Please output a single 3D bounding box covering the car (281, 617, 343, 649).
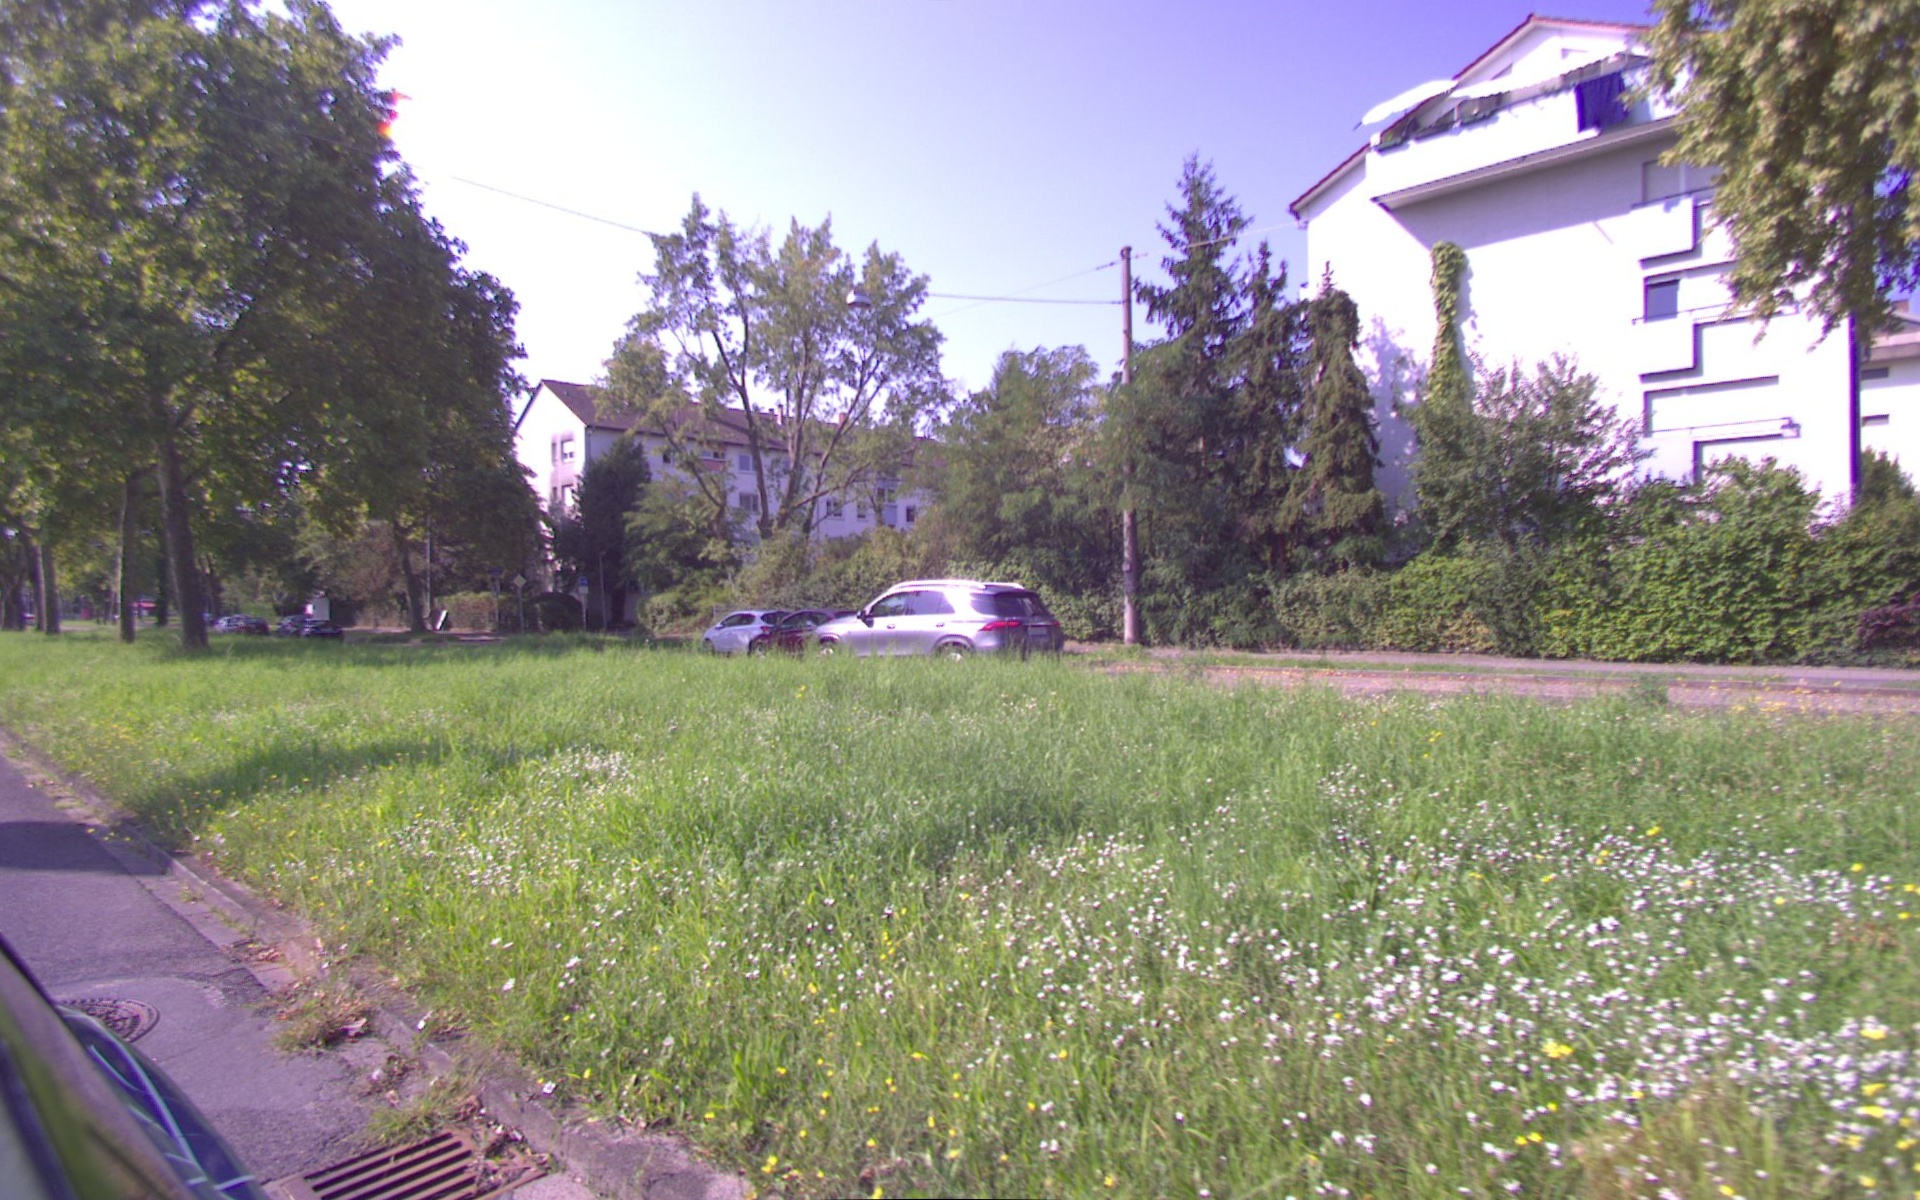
[{"bbox_3d":[-32.510,1.649,50.743,3.897,1.490,1.628,-1,0,42],"label":"car"}]

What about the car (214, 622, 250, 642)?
[{"bbox_3d":[-54.393,2.408,75.565,3.523,1.417,1.591,-2,-1,44],"label":"car"}]

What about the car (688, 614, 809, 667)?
[{"bbox_3d":[-6.524,1.197,31.079,3.897,1.490,1.628,-1,0,42],"label":"car"}]

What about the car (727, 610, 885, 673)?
[{"bbox_3d":[-3.800,1.000,24.676,3.895,1.375,1.629,-2,0,40],"label":"car"}]

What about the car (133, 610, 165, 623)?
[{"bbox_3d":[-136.130,2.812,169.903,3.966,2.109,1.834,0,-1,-44],"label":"car"}]

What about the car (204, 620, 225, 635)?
[{"bbox_3d":[-87.892,3.248,119.237,1.625,1.684,3.738,0,-1,-42],"label":"car"}]

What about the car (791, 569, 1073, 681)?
[{"bbox_3d":[-0.608,0.380,17.080,4.855,1.629,1.756,-1,0,42],"label":"car"}]

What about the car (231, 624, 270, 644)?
[{"bbox_3d":[-50.762,2.395,72.376,3.523,1.301,1.591,-1,0,44],"label":"car"}]

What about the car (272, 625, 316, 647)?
[{"bbox_3d":[-42.368,2.261,64.345,3.523,1.301,1.591,-1,0,44],"label":"car"}]
